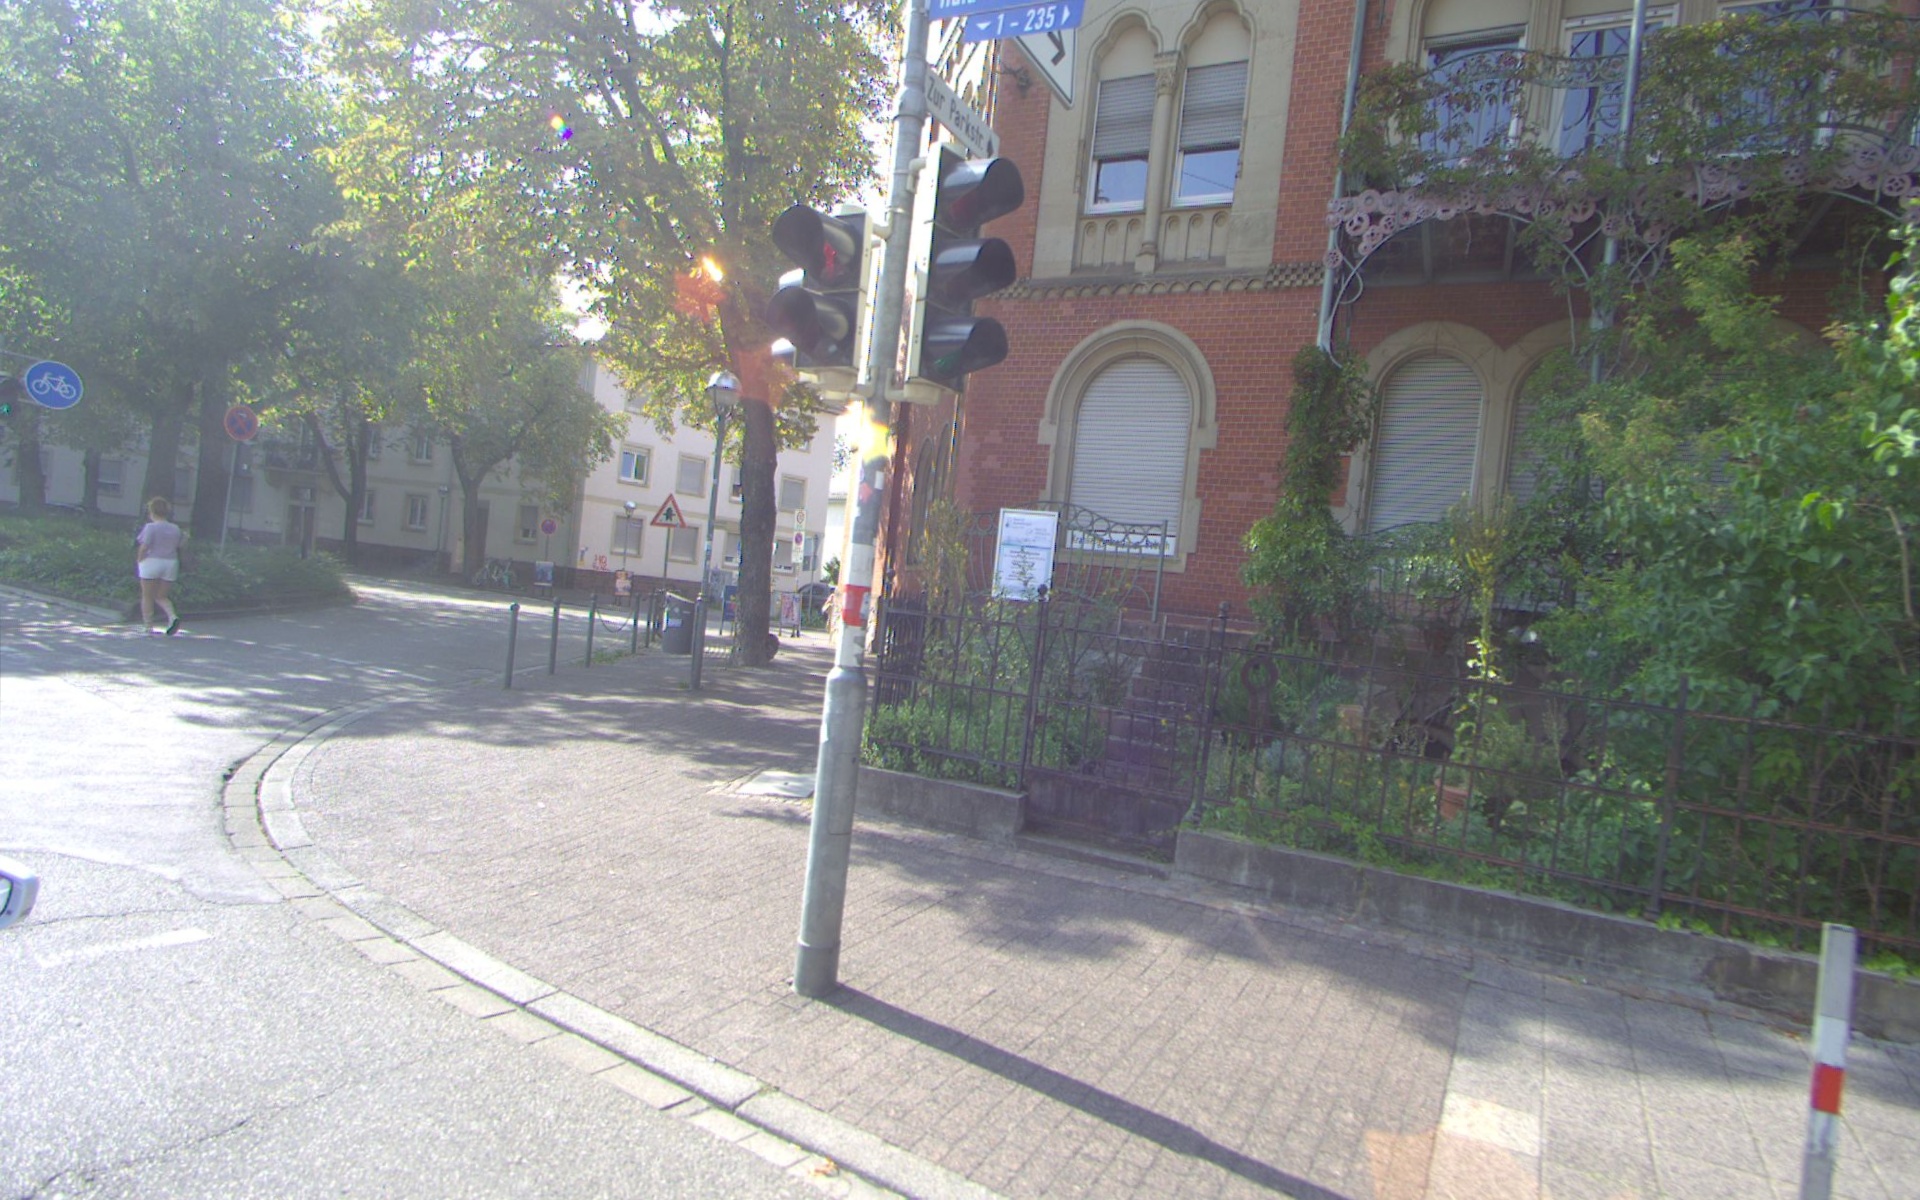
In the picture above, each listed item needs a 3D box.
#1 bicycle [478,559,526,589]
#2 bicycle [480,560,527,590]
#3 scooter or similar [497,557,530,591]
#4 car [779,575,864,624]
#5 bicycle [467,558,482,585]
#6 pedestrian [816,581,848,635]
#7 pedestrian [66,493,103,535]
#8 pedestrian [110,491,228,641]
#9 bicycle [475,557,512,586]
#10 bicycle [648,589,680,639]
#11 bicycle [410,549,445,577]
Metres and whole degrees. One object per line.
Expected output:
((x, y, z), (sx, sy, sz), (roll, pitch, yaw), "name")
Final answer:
((-17.552, -0.982, 38.580), (0.420, 0.990, 1.547), (7, 1, 42), "bicycle")
((-17.368, -0.950, 38.296), (0.420, 0.990, 1.547), (7, 1, 42), "bicycle")
((-16.889, -0.990, 38.077), (1.060, 1.214, 0.456), (3, 4, -31), "scooter or similar")
((-5.823, -0.035, 42.093), (1.584, 1.633, 3.957), (6, 0, -39), "car")
((-18.774, -1.104, 38.911), (0.420, 0.990, 1.546), (6, 1, -24), "bicycle")
((-4.389, 0.274, 34.521), (0.761, 1.762, 0.894), (6, 1, 5), "pedestrian")
((-39.858, -3.921, 45.830), (0.879, 1.762, 0.774), (6, 1, -10), "pedestrian")
((-9.843, -0.405, 12.537), (0.757, 1.753, 0.752), (6, 1, 19), "pedestrian")
((-18.438, -1.126, 39.788), (0.417, 1.052, 1.556), (6, 0, 9), "bicycle")
((-6.447, 0.284, 21.961), (0.419, 0.990, 1.766), (6, 0, -11), "bicycle")
((-22.329, -1.555, 42.177), (1.528, 0.990, 0.425), (7, 1, 25), "bicycle")
